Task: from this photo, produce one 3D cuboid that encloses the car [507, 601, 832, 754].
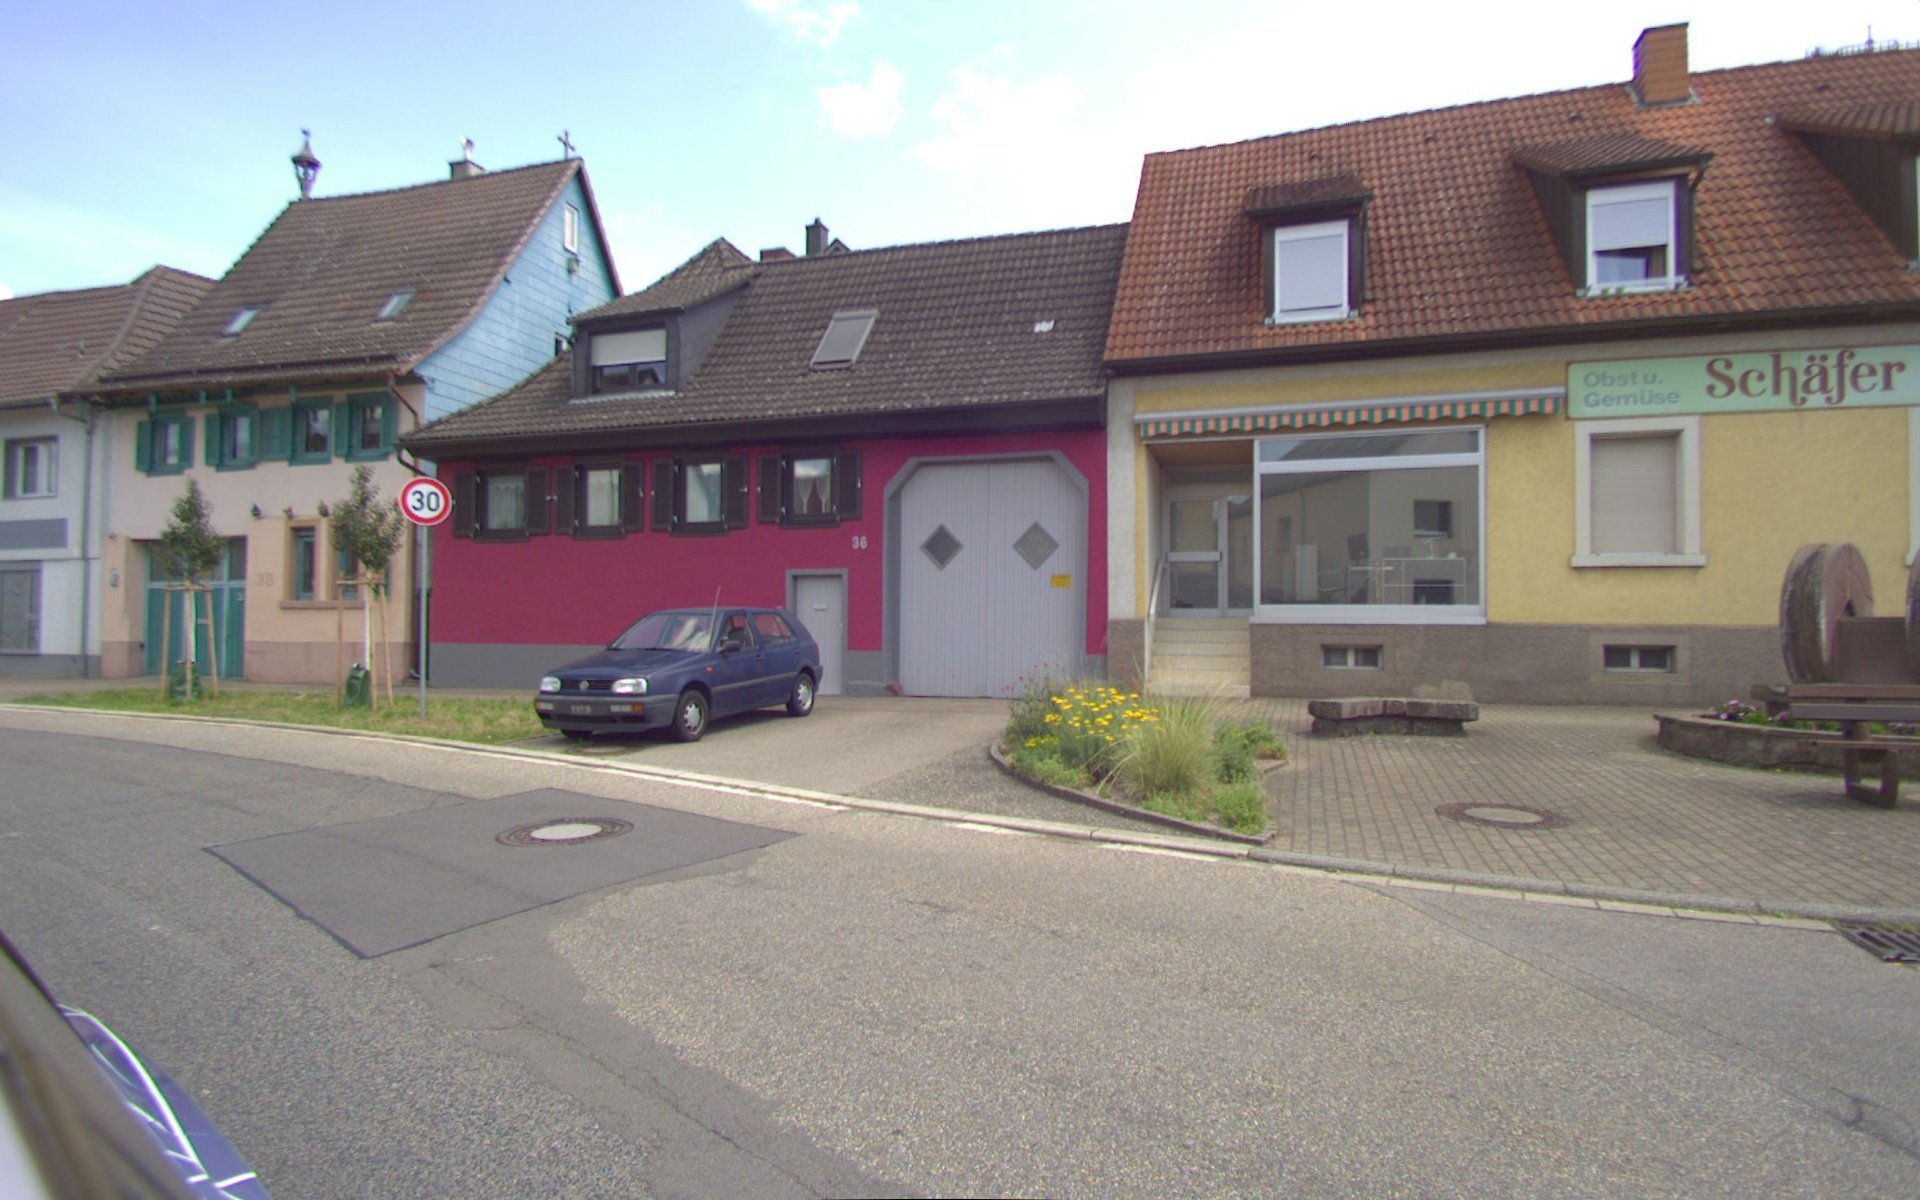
[{"bbox_3d":[-3.182,0.760,11.932,1.708,1.475,3.953,0,0,20],"label":"car"}]
